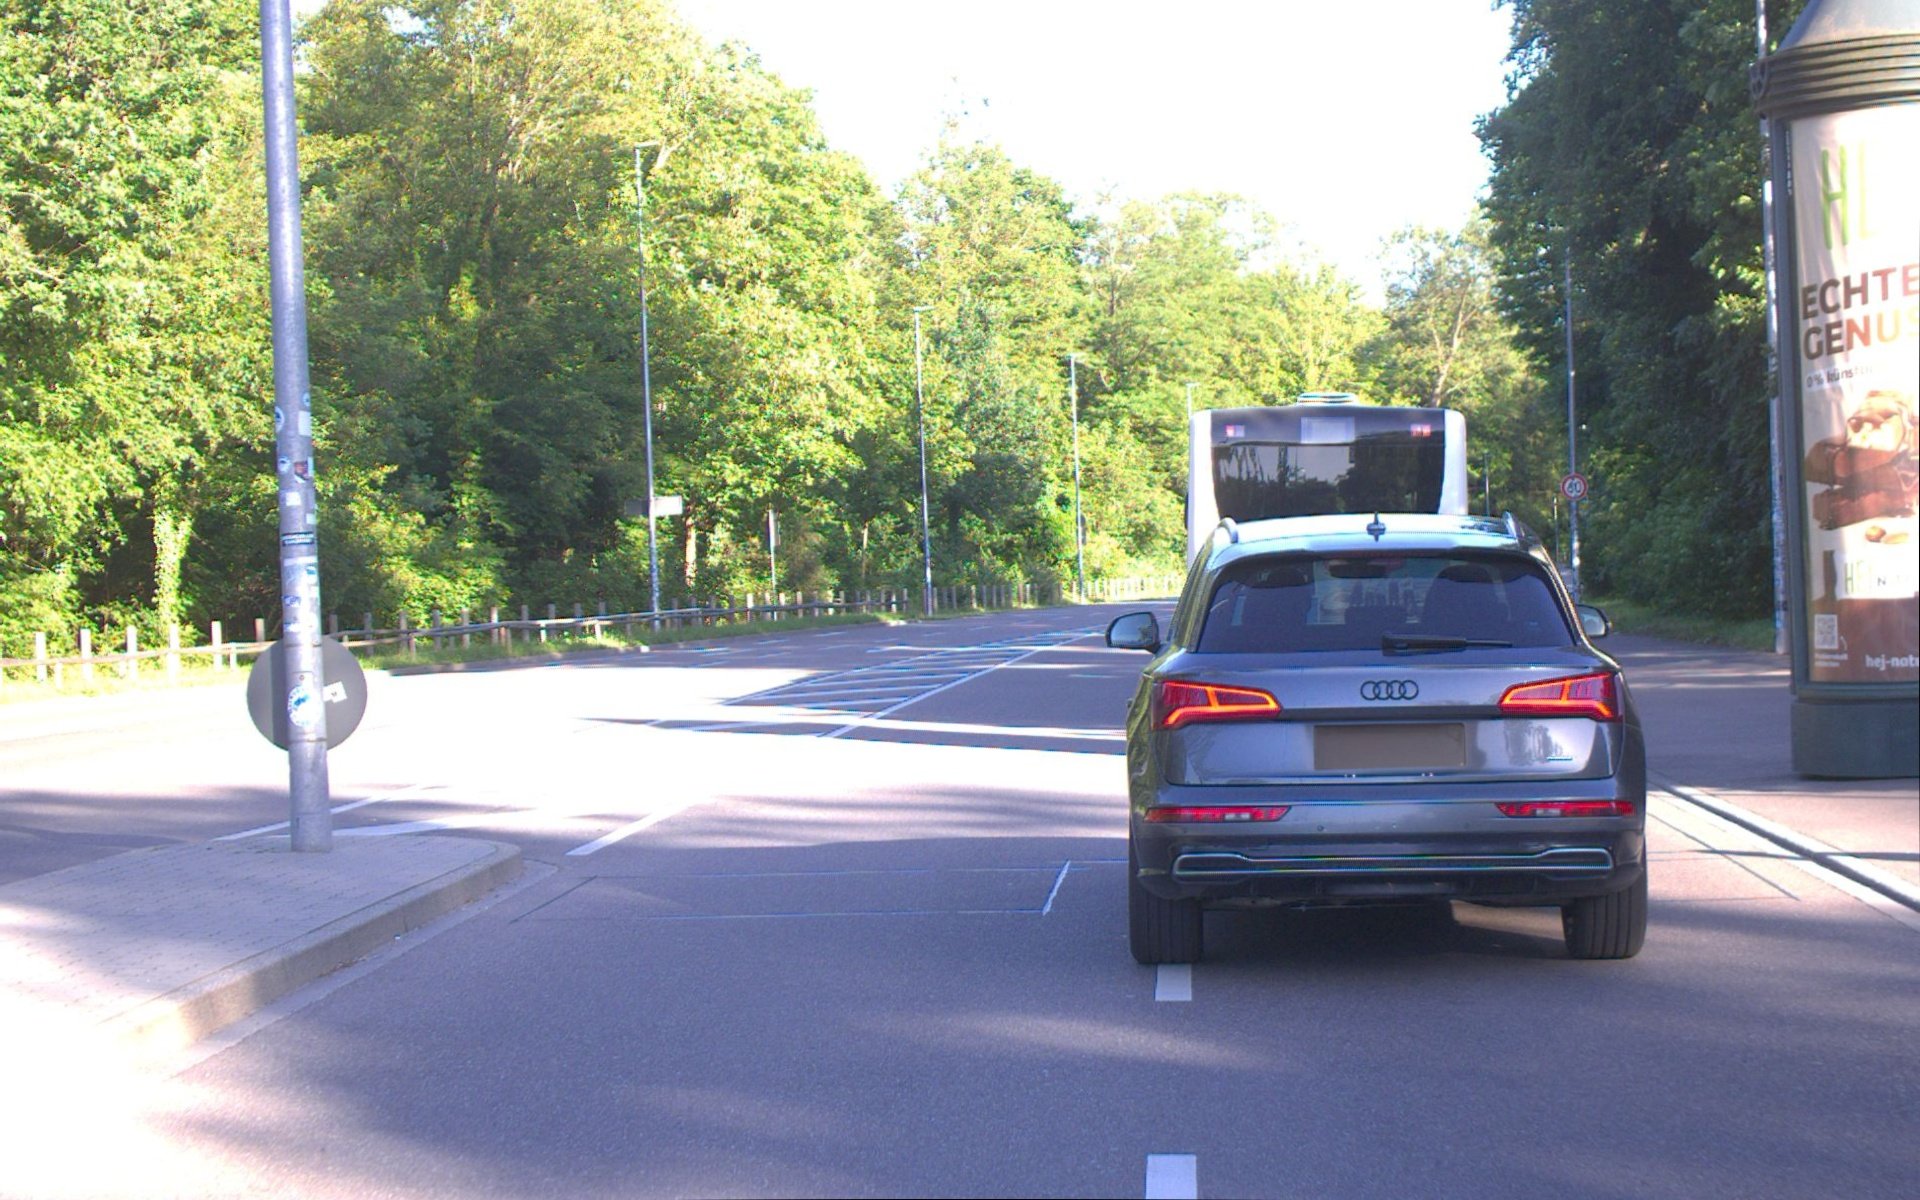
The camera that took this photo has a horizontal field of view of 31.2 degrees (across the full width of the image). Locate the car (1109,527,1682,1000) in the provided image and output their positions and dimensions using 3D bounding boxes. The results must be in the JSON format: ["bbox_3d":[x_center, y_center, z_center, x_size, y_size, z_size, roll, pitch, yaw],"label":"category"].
[{"bbox_3d":[1.577,0.525,13.952,1.893,1.600,4.544,0,1,2],"label":"car"}]

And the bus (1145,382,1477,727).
[{"bbox_3d":[3.437,-0.464,36.494,2.690,3.032,12.040,-1,1,2],"label":"bus"}]
